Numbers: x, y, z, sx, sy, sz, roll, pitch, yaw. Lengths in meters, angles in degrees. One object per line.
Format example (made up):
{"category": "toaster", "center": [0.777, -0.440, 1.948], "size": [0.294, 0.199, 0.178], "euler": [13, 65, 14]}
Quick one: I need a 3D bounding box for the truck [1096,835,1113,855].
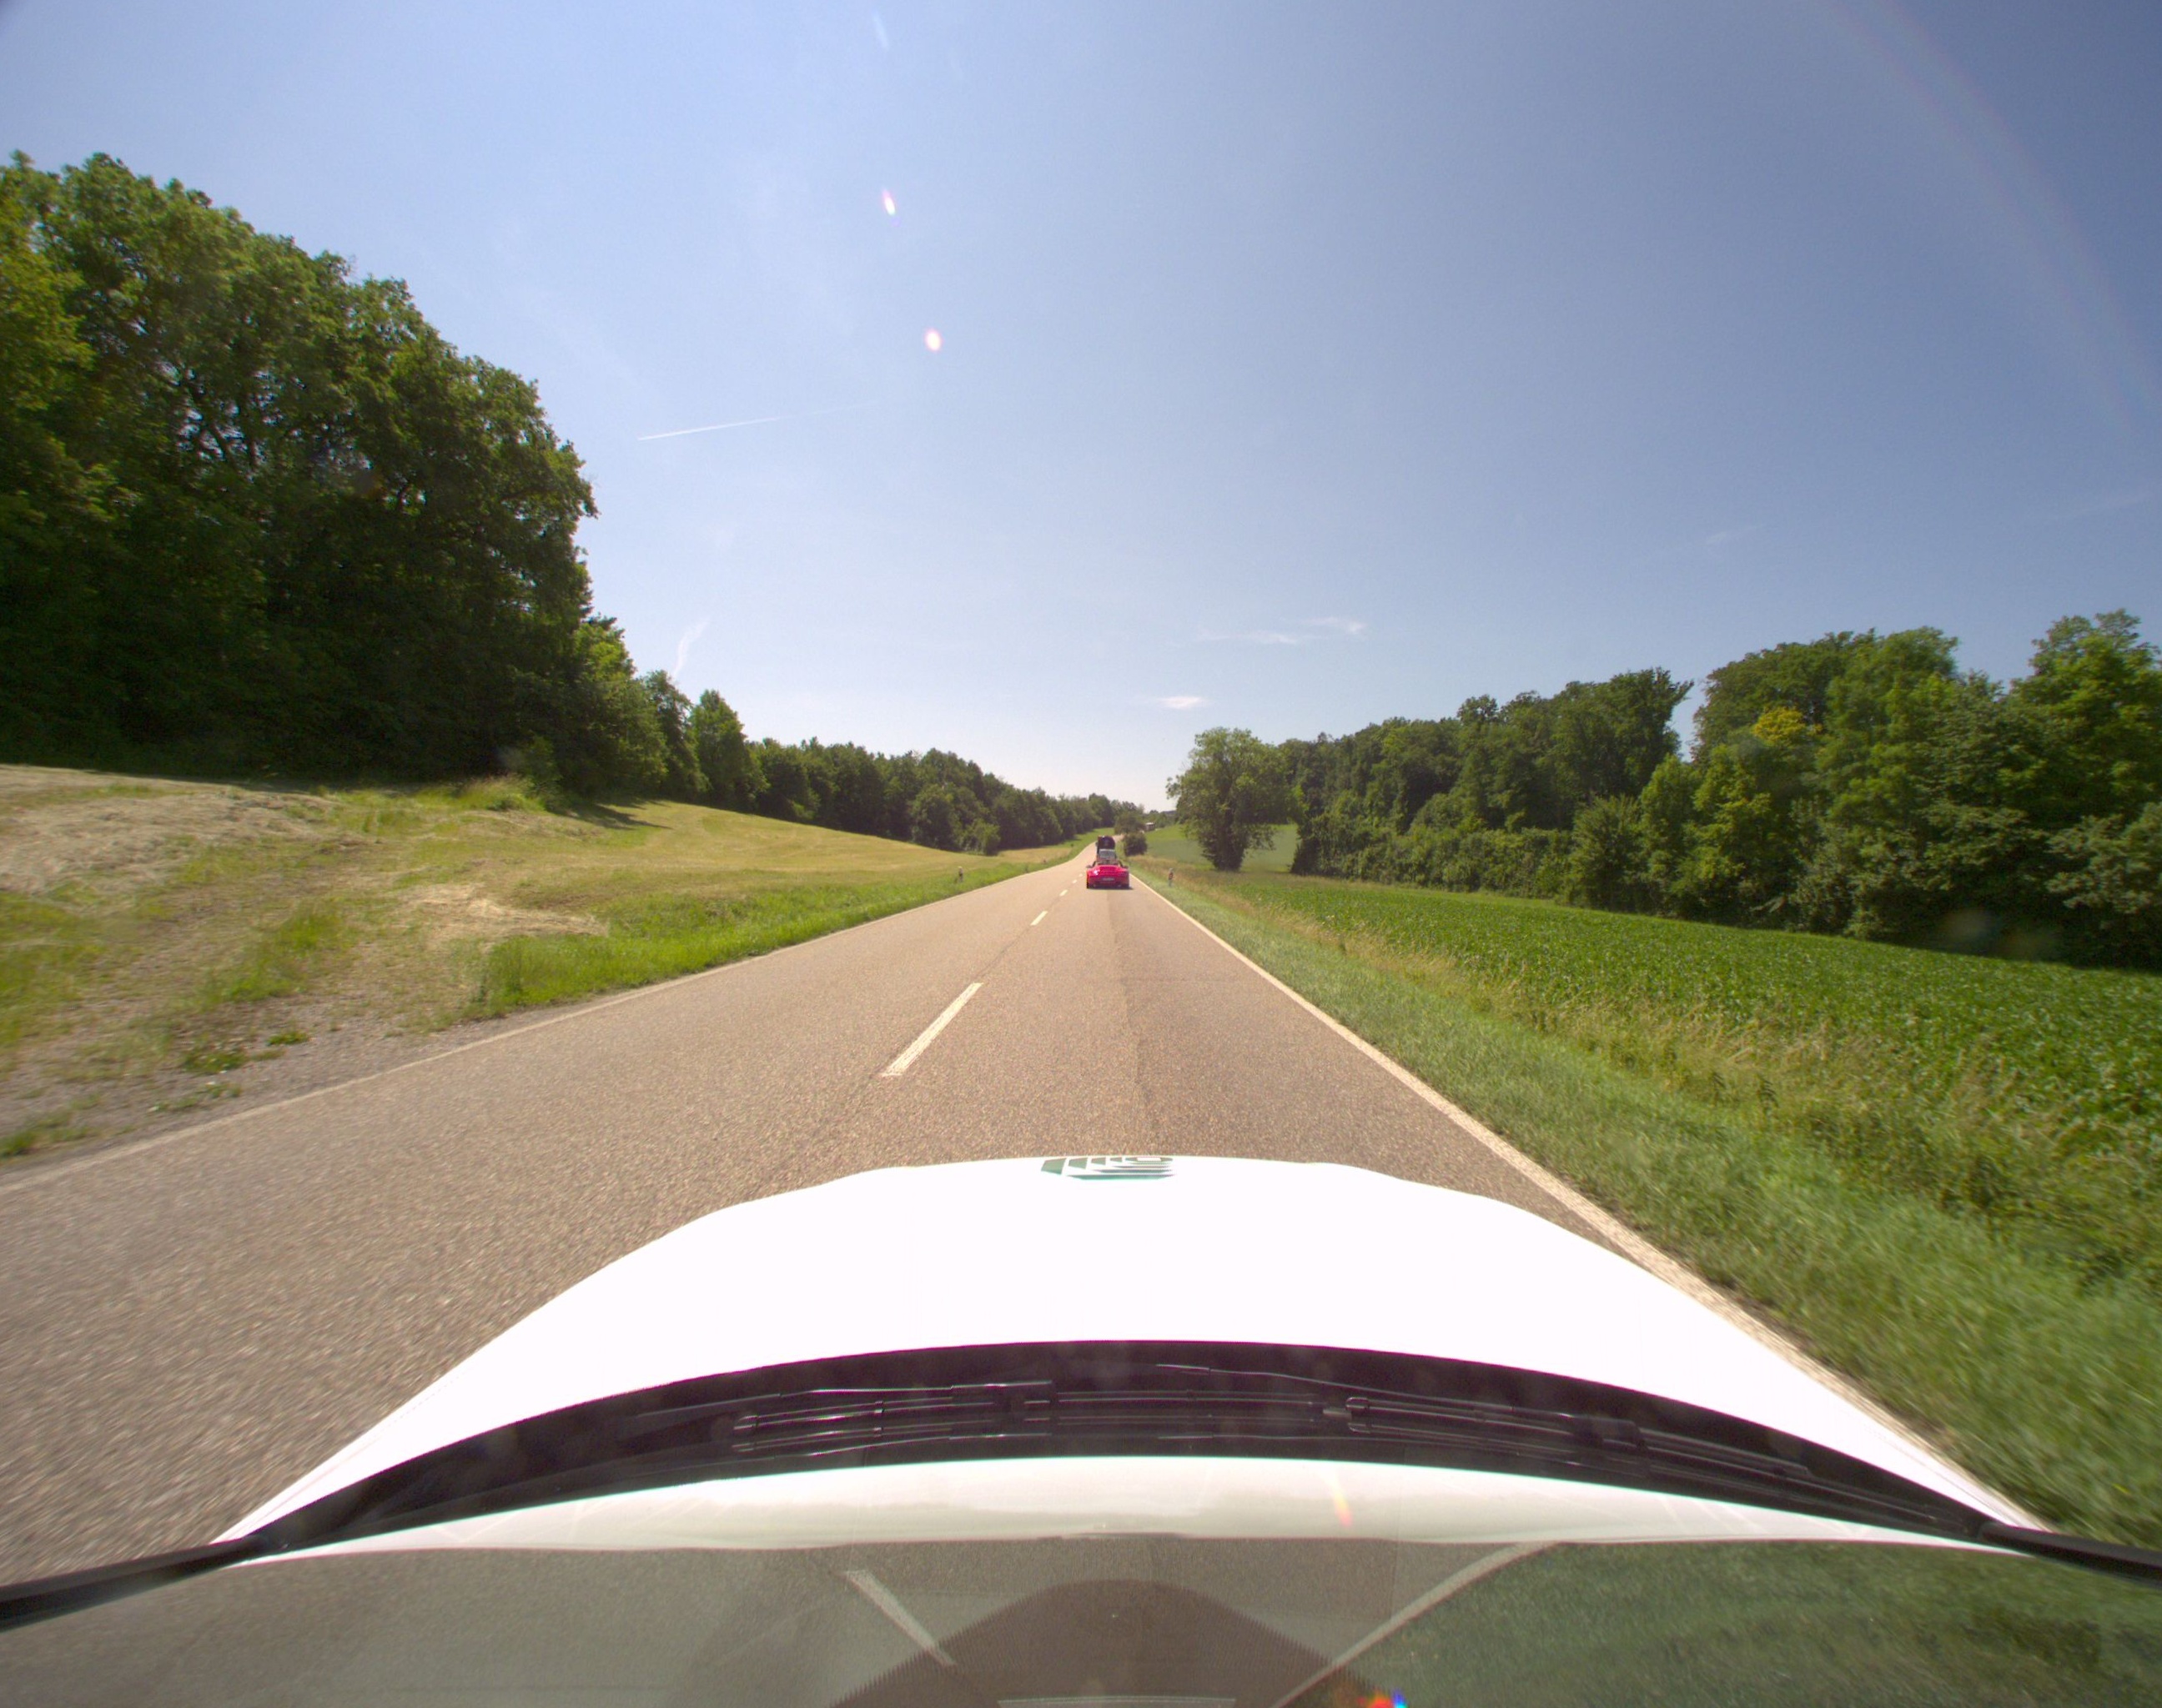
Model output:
{"category": "truck", "center": [5.833, -2.301, 204.409], "size": [3.713, 4.659, 12.032], "euler": [-1, 2, 0]}

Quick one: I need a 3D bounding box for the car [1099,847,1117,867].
{"category": "car", "center": [2.757, 0.287, 82.929], "size": [1.672, 1.900, 4.012], "euler": [-1, 0, 2]}

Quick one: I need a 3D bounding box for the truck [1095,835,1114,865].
{"category": "truck", "center": [3.378, -0.667, 119.025], "size": [2.396, 4.049, 12.552], "euler": [-1, 1, 1]}

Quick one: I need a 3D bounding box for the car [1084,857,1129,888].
{"category": "car", "center": [1.131, 0.808, 36.473], "size": [1.876, 1.255, 4.010], "euler": [-1, 0, 1]}
